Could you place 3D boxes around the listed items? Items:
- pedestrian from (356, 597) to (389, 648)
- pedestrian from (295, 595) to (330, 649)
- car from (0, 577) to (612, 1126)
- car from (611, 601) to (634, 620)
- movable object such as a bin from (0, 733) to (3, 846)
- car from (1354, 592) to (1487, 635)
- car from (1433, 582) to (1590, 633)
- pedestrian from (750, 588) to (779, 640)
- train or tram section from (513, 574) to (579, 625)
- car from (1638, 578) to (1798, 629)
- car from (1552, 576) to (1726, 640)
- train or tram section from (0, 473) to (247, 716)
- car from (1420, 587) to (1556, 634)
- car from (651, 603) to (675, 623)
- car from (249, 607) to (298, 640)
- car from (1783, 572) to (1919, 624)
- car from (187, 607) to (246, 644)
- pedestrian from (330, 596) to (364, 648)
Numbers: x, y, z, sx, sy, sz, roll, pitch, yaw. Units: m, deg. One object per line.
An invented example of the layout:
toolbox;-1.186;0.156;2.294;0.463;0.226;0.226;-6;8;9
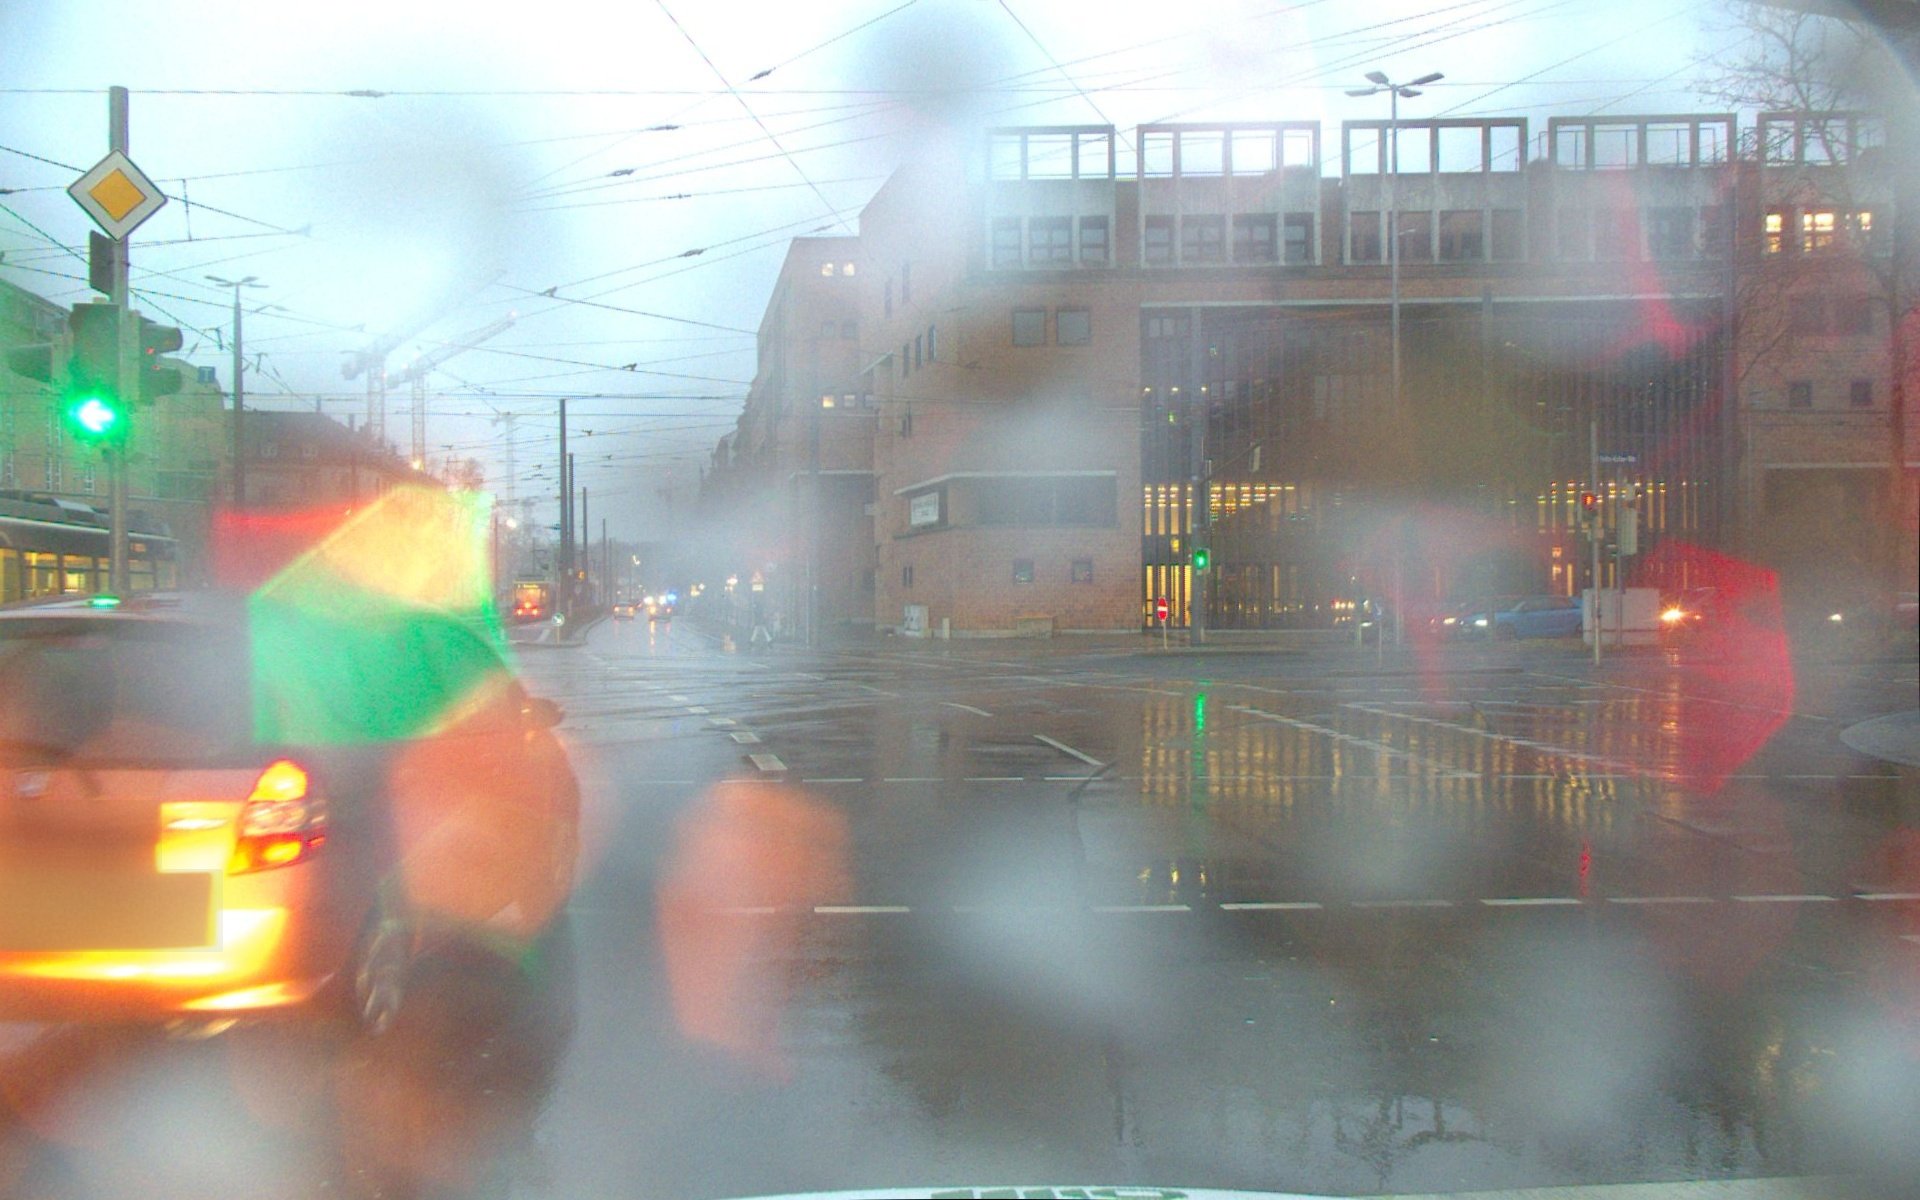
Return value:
pedestrian;-23.686;0.894;66.729;0.959;2.049;0.835;0;0;14
pedestrian;-25.047;0.851;63.969;0.959;2.049;0.835;0;0;14
car;-2.575;0.692;6.402;1.663;1.485;3.757;-1;0;0
car;-29.793;0.923;145.916;1.837;1.606;3.990;2;0;-10
movable object such as a bin;-6.330;1.201;10.261;0.403;0.711;0.537;-3;-1;26
car;15.546;0.450;55.951;3.909;1.333;1.998;-1;0;-5
car;15.984;0.208;48.045;3.910;1.284;1.846;-1;4;-7
pedestrian;-7.768;0.552;65.754;1.050;2.049;0.683;-1;0;-14
train or tram section;-32.267;-0.006;129.923;3.133;3.496;27.760;-1;0;-10
car;22.355;0.085;48.849;3.910;1.310;1.846;-1;4;-7
car;18.236;0.203;44.500;3.910;1.530;1.846;-1;4;-7
train or tram section;-16.241;-0.054;27.385;2.810;3.677;19.182;-1;0;-7
car;16.610;0.315;52.141;3.649;1.284;1.846;-1;4;-7
car;-25.138;1.070;139.872;1.836;1.606;3.992;2;0;-9
car;-35.244;1.177;84.989;1.756;1.652;3.852;0;0;-14
car;29.340;-0.094;54.121;3.910;1.530;1.846;-1;4;-7
car;-33.899;1.132;75.522;1.756;1.652;3.852;0;0;-14
pedestrian;-24.260;0.872;65.450;0.959;2.049;0.835;0;0;14
